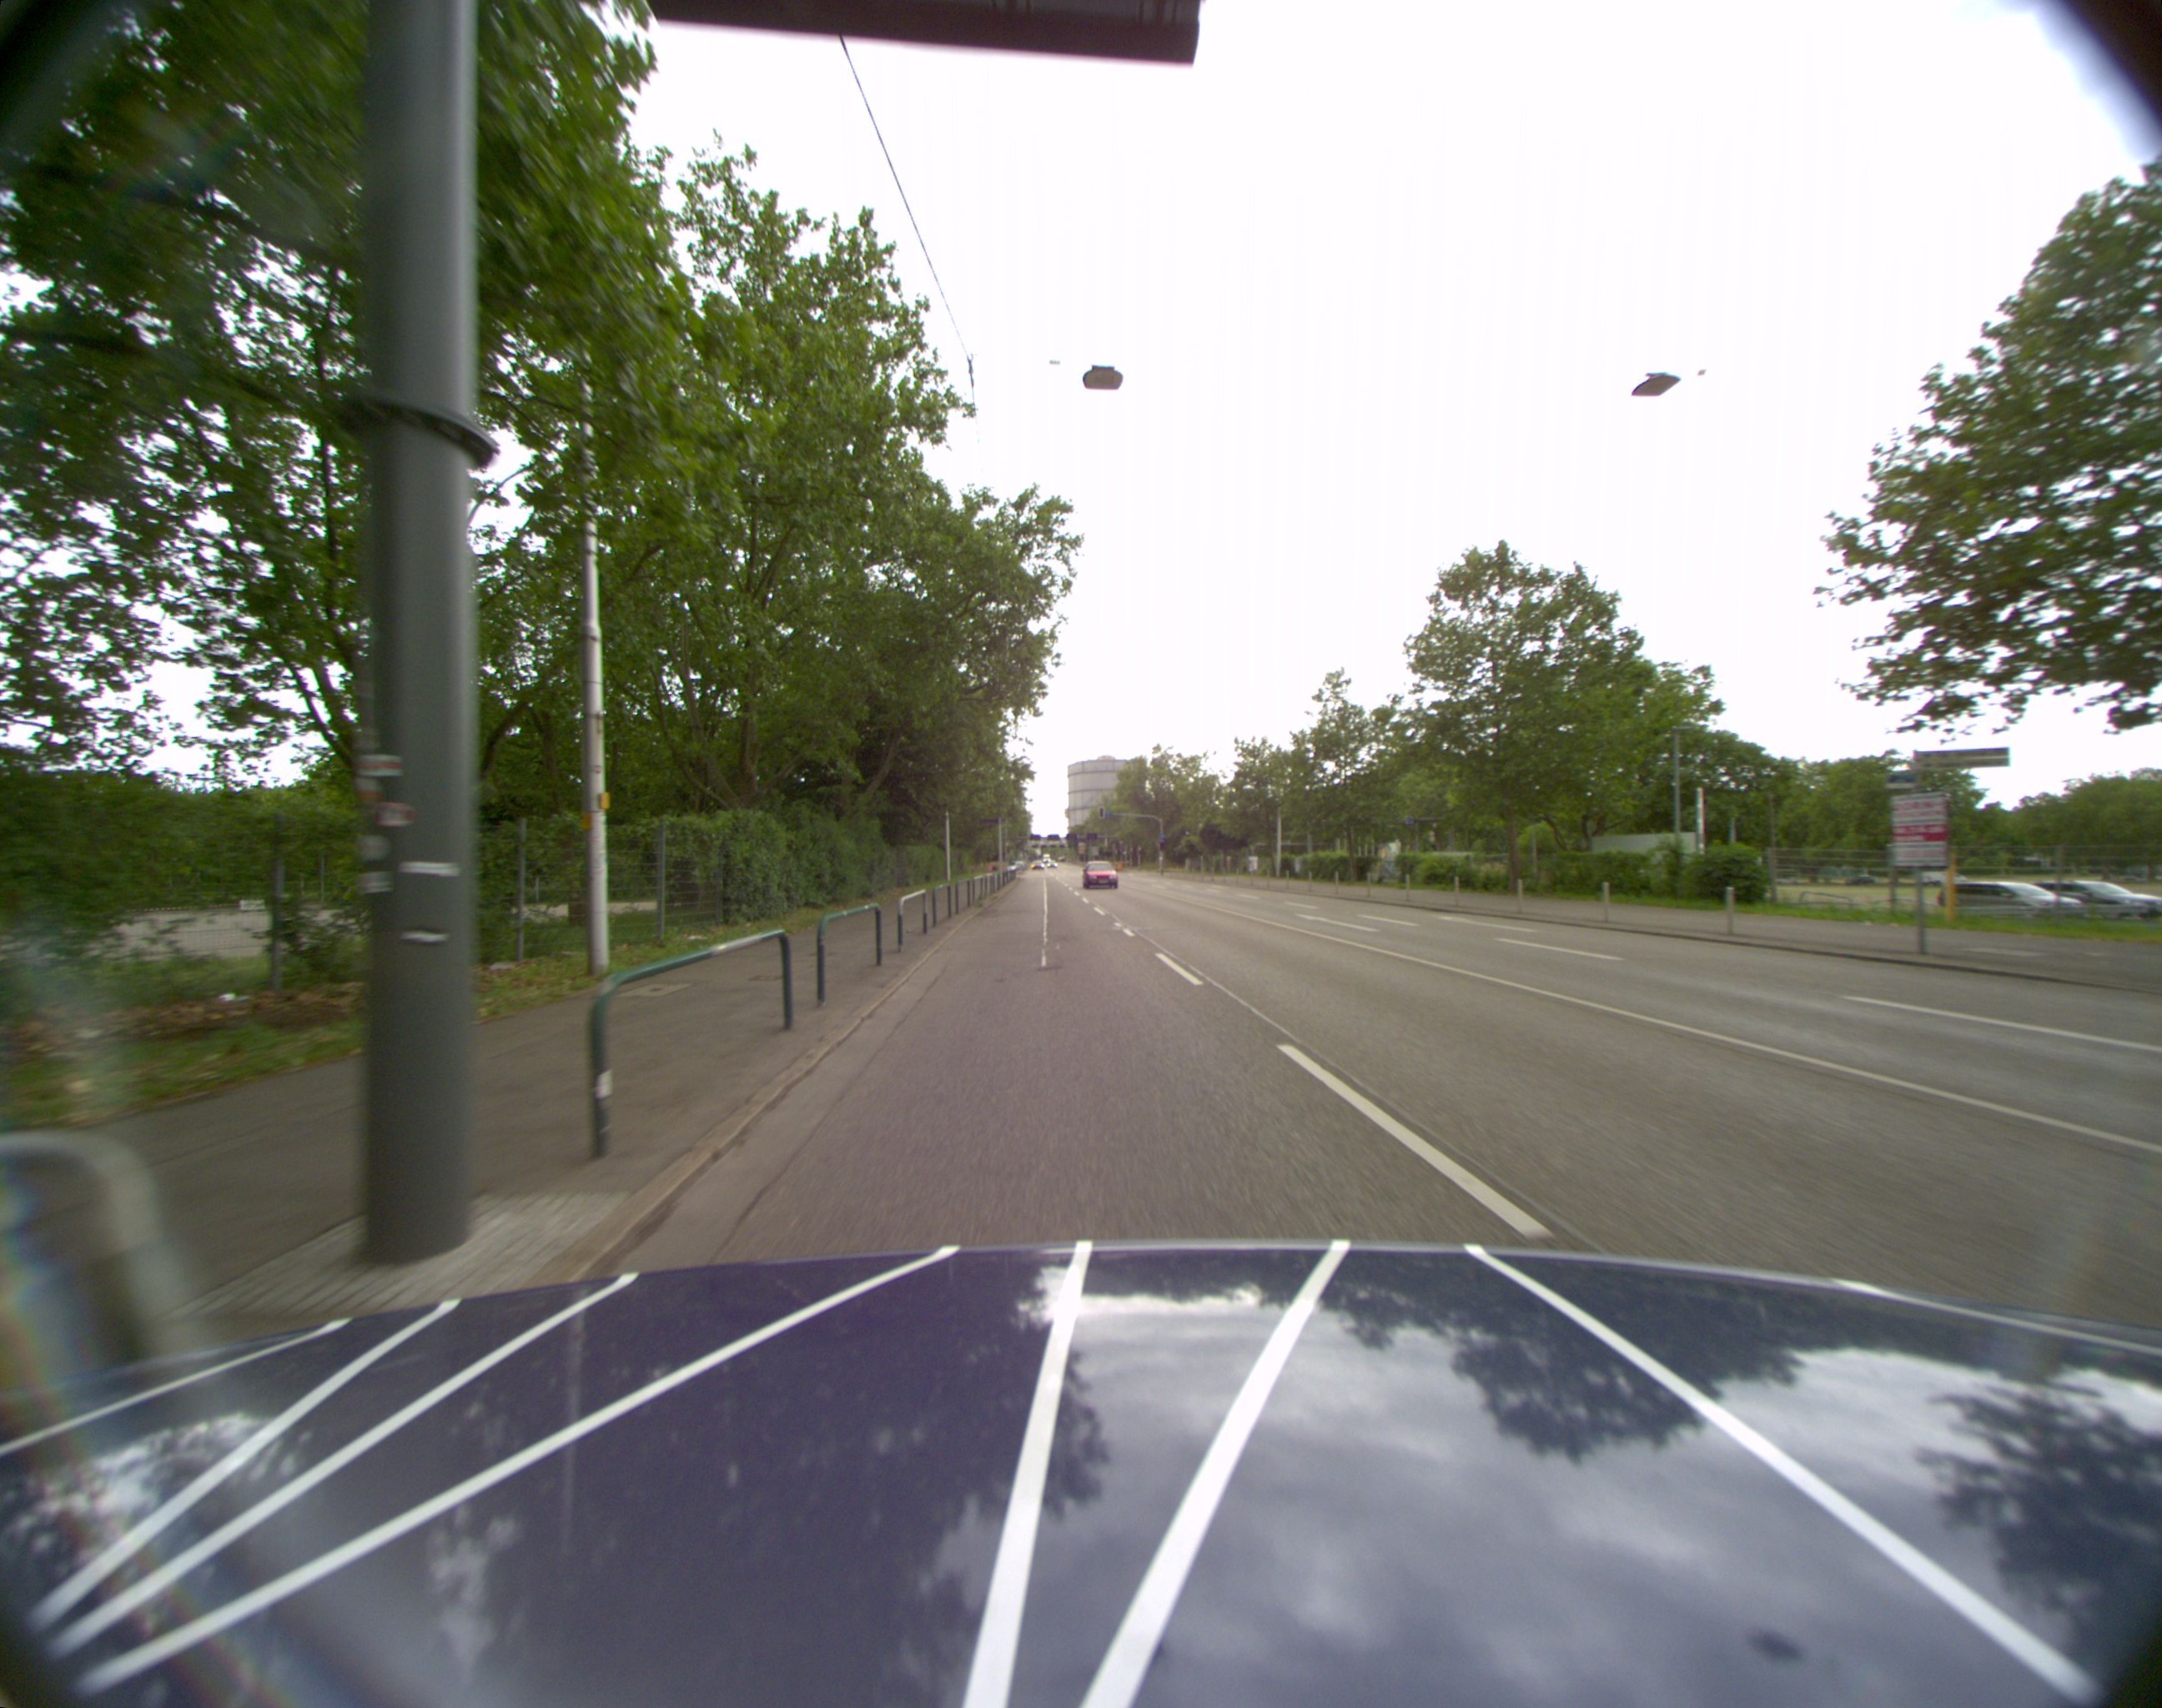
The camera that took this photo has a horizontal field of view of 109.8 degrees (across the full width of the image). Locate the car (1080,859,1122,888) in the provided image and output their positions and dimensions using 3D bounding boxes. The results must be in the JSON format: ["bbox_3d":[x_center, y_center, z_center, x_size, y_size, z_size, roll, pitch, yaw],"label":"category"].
[{"bbox_3d":[1.033,1.012,40.775,1.834,1.443,4.075,-2,0,-4],"label":"car"}]

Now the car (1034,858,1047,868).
[{"bbox_3d":[-6.705,1.440,127.194,1.799,1.501,4.000,-2,0,1],"label":"car"}]

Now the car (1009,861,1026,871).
[{"bbox_3d":[-9.367,1.776,112.554,1.740,1.363,3.874,0,0,8],"label":"car"}]

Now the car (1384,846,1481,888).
[{"bbox_3d":[17.761,0.622,38.697,2.394,2.002,4.633,0,0,-7],"label":"car"}]

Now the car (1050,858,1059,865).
[{"bbox_3d":[-5.404,1.564,155.552,1.799,1.501,3.999,-1,0,-3],"label":"car"}]
